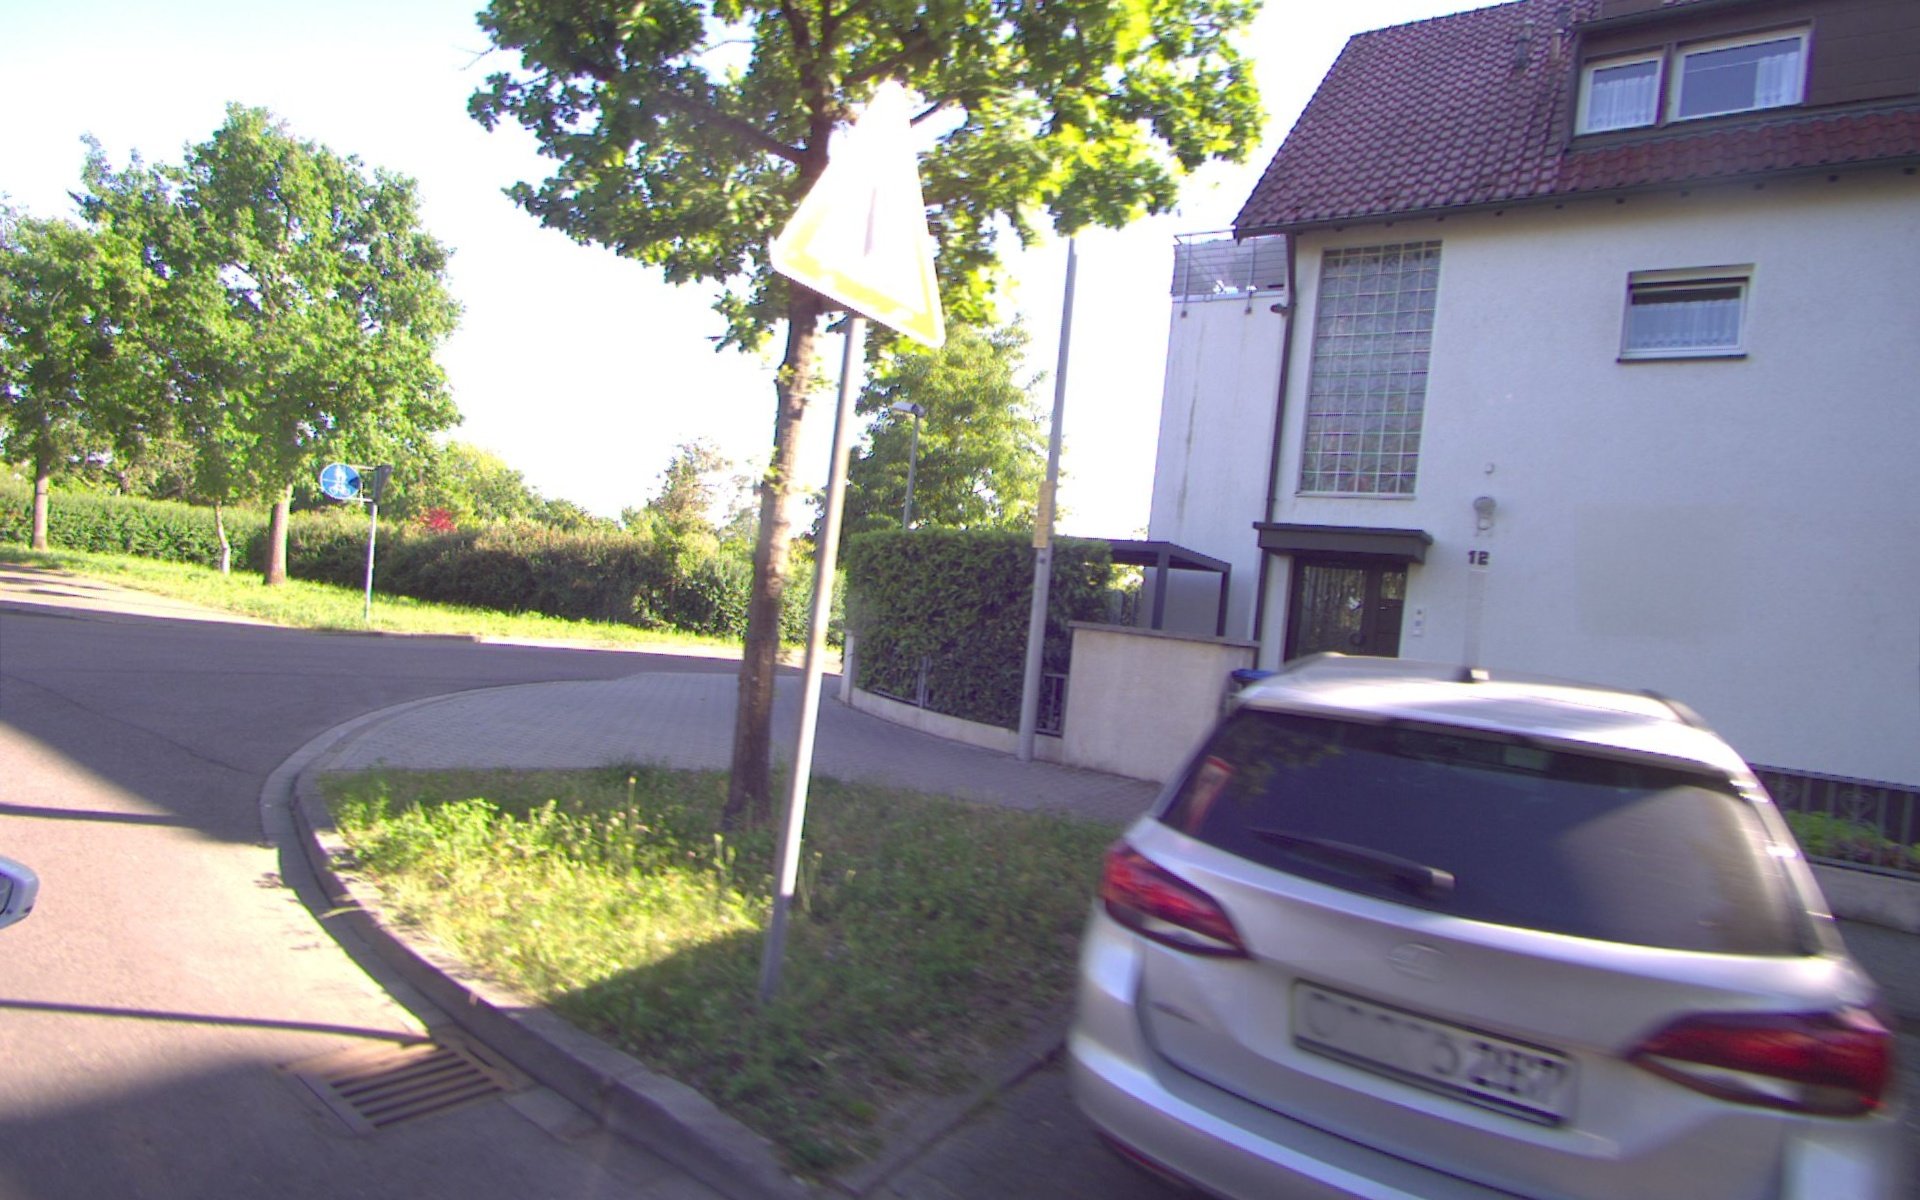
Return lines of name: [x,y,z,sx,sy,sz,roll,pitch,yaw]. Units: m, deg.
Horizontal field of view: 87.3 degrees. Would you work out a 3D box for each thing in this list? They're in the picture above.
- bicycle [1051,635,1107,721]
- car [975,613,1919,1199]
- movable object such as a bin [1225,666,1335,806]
bicycle: [1.696,1.093,14.497,0.522,1.067,1.673,6,0,1]
car: [1.870,0.969,3.819,1.765,1.510,4.436,6,0,27]
movable object such as a bin: [2.719,1.128,8.549,0.688,1.058,0.535,6,1,31]
